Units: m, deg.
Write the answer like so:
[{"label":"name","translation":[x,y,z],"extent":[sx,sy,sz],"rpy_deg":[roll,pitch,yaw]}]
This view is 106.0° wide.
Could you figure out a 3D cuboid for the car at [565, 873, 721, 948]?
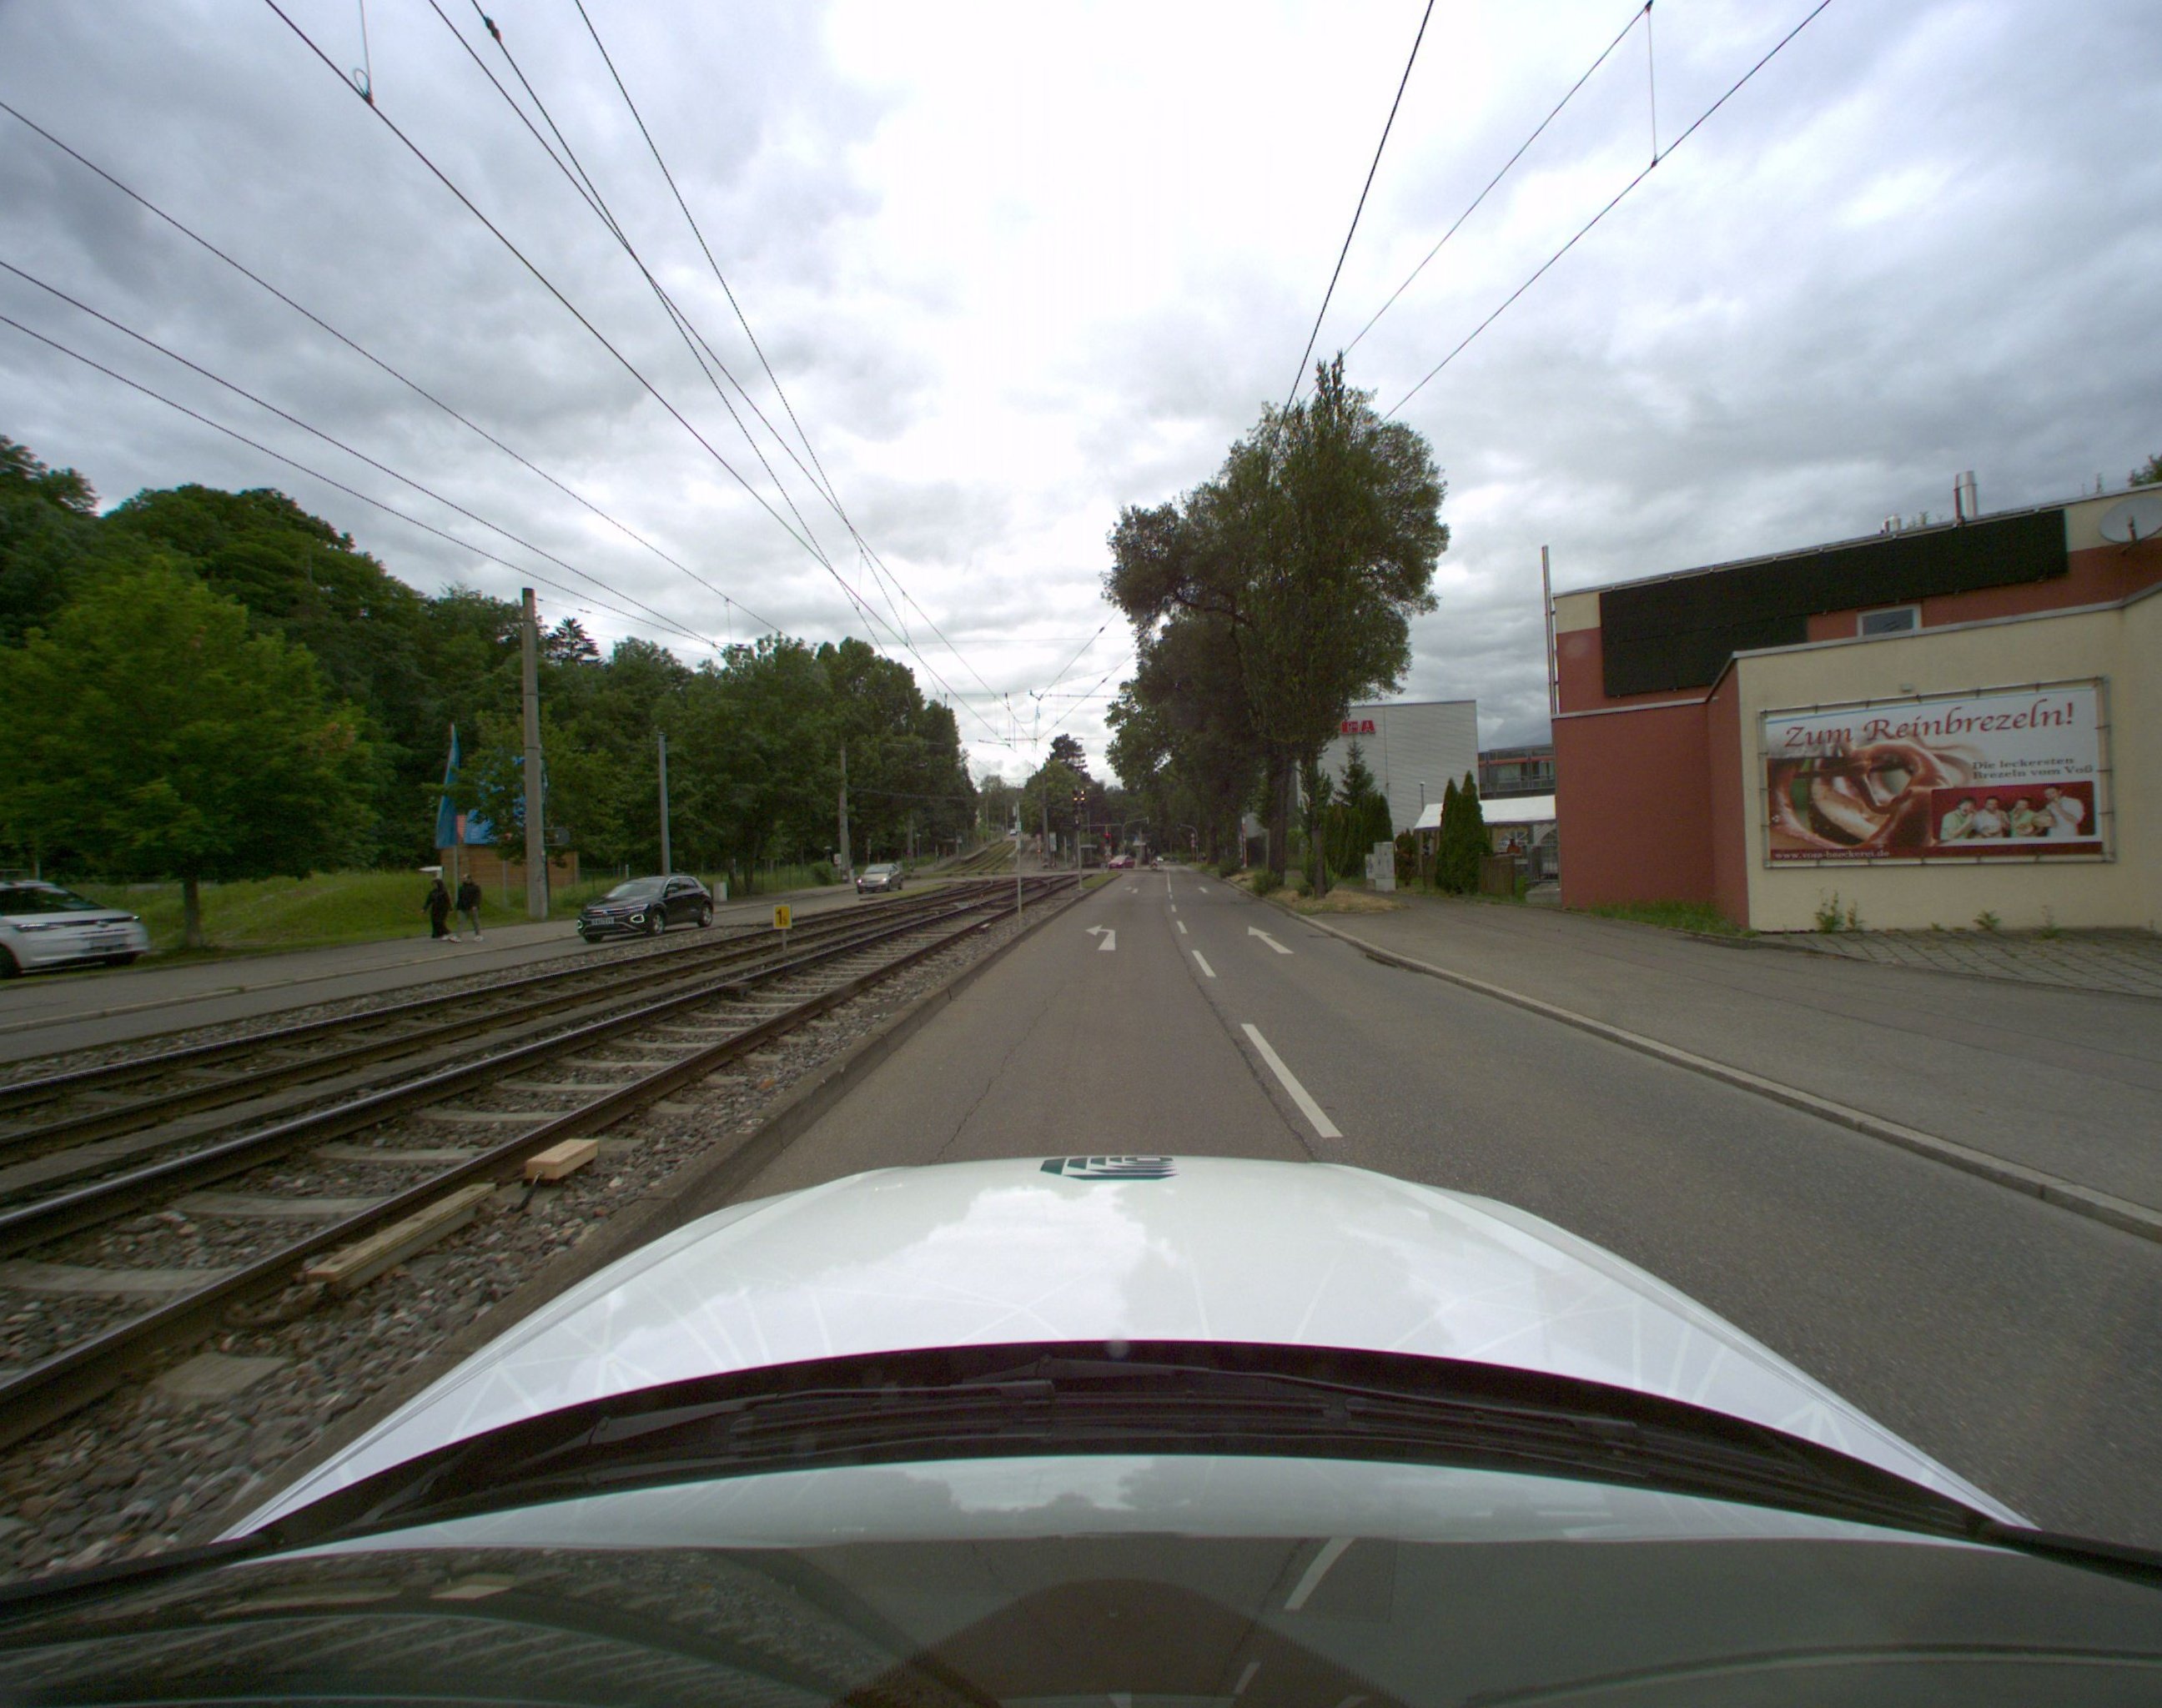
[{"label":"car","translation":[-11.265,1.378,21.330],"extent":[1.682,1.532,4.255],"rpy_deg":[-5,0,-1]}]

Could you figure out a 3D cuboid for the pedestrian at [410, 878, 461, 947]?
[{"label":"pedestrian","translation":[-16.830,1.507,21.251],"extent":[0.625,1.713,0.856],"rpy_deg":[-1,0,2]}]

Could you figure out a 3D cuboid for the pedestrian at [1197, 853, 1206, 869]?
[{"label":"pedestrian","translation":[15.013,0.863,101.484],"extent":[0.923,2.014,0.671],"rpy_deg":[-3,-1,21]}]

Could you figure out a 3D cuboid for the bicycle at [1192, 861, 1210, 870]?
[{"label":"bicycle","translation":[15.003,1.475,101.492],"extent":[2.057,1.007,0.671],"rpy_deg":[-3,-1,20]}]

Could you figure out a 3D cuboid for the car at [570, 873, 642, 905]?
[{"label":"car","translation":[-29.036,2.096,49.902],"extent":[1.987,1.750,3.999],"rpy_deg":[-3,-1,0]}]

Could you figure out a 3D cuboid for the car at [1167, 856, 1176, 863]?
[{"label":"car","translation":[24.676,1.604,221.388],"extent":[1.986,1.816,4.002],"rpy_deg":[-3,0,2]}]

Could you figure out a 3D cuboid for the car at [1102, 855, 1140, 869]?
[{"label":"car","translation":[4.421,0.867,89.530],"extent":[1.974,1.515,4.529],"rpy_deg":[-2,-1,34]}]

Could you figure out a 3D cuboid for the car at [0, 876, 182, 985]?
[{"label":"car","translation":[-21.168,1.490,15.867],"extent":[5.033,1.888,2.169],"rpy_deg":[-2,0,3]}]

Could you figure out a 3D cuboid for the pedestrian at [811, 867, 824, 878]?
[{"label":"pedestrian","translation":[-28.442,1.990,87.927],"extent":[0.894,1.095,1.087],"rpy_deg":[-1,-2,41]}]

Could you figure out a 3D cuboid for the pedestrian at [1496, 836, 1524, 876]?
[{"label":"pedestrian","translation":[16.212,0.065,30.771],"extent":[0.696,1.490,0.775],"rpy_deg":[-3,-1,42]}]

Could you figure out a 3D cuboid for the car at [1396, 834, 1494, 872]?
[{"label":"car","translation":[18.197,-0.051,40.785],"extent":[4.321,1.706,2.012],"rpy_deg":[-2,-1,26]}]

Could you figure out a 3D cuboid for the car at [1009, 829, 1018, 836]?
[{"label":"car","translation":[-20.559,-6.488,248.510],"extent":[1.986,2.013,4.001],"rpy_deg":[-3,-1,2]}]

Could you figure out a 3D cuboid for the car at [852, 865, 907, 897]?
[{"label":"car","translation":[-11.125,1.453,45.271],"extent":[1.885,1.532,4.255],"rpy_deg":[-5,0,-1]}]

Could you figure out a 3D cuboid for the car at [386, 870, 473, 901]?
[{"label":"car","translation":[-46.423,2.208,58.117],"extent":[1.974,2.014,4.431],"rpy_deg":[-2,-1,31]}]

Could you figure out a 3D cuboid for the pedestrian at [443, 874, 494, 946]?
[{"label":"pedestrian","translation":[-15.994,1.449,21.281],"extent":[0.674,1.813,0.856],"rpy_deg":[-1,0,2]}]

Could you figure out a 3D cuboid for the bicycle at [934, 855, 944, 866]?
[{"label":"bicycle","translation":[-19.179,0.851,109.875],"extent":[0.822,1.343,2.994],"rpy_deg":[-3,2,-2]}]

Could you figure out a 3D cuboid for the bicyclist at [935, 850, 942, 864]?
[{"label":"bicyclist","translation":[-19.197,0.409,109.626],"extent":[0.819,1.849,1.051],"rpy_deg":[-2,2,-2]}]
